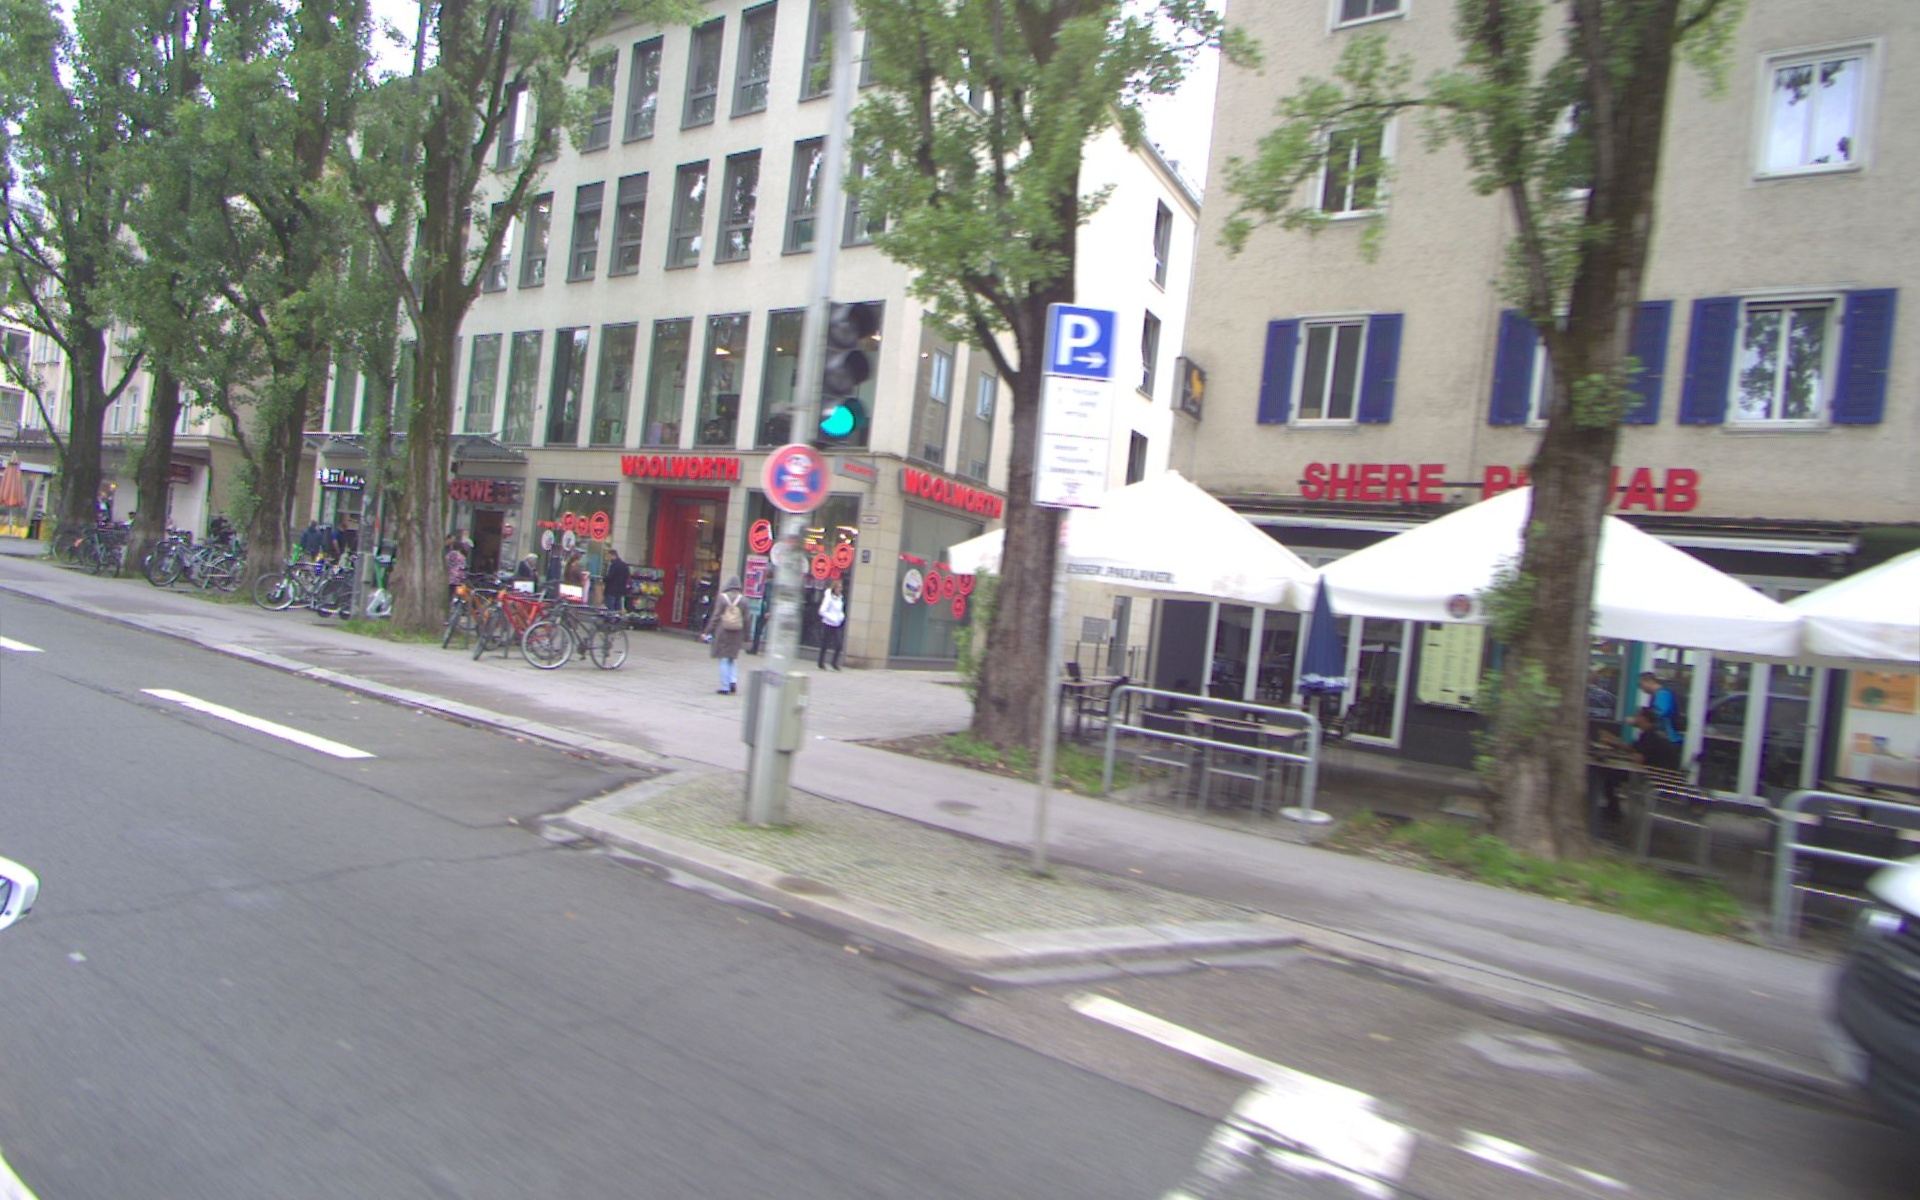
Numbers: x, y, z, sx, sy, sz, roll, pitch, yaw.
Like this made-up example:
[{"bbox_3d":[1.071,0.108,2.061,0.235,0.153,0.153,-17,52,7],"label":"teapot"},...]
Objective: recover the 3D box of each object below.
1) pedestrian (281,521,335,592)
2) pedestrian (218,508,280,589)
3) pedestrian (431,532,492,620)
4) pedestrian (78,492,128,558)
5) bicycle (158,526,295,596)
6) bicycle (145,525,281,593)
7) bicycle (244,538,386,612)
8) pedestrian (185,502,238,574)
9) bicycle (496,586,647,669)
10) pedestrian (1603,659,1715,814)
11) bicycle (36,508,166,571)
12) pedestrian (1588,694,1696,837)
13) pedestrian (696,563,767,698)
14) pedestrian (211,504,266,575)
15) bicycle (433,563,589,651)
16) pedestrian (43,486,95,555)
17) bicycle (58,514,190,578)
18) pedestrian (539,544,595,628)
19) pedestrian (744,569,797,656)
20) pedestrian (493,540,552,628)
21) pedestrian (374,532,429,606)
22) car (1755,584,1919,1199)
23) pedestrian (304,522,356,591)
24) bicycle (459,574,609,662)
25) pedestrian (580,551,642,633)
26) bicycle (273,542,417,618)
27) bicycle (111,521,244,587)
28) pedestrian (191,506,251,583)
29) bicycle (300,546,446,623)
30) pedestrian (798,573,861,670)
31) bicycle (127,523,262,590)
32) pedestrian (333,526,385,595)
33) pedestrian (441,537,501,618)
[{"bbox_3d":[-18.482,-1.234,28.524,0.871,1.848,0.722,7,-1,22],"label":"pedestrian"},{"bbox_3d":[-17.735,-1.278,25.085,0.871,1.848,0.722,7,-1,22],"label":"pedestrian"},{"bbox_3d":[-10.194,-0.486,20.578,0.745,1.707,0.674,6,1,28],"label":"pedestrian"},{"bbox_3d":[-25.677,-2.244,30.136,0.871,1.848,0.639,7,-1,22],"label":"pedestrian"},{"bbox_3d":[-15.570,-0.803,21.422,0.616,1.219,2.230,7,0,30],"label":"bicycle"},{"bbox_3d":[-16.208,-0.870,21.897,0.616,1.219,2.230,7,0,30],"label":"bicycle"},{"bbox_3d":[-12.599,-0.465,19.737,0.616,1.219,2.230,7,0,30],"label":"bicycle"},{"bbox_3d":[-20.682,-1.707,27.792,0.871,1.848,0.639,7,-1,22],"label":"pedestrian"},{"bbox_3d":[-5.524,0.425,14.453,0.616,1.045,1.998,7,0,30],"label":"bicycle"},{"bbox_3d":[8.462,1.628,12.222,0.862,1.698,0.799,7,0,28],"label":"pedestrian"},{"bbox_3d":[-20.628,-1.422,24.213,0.616,1.219,2.230,7,0,30],"label":"bicycle"},{"bbox_3d":[7.232,1.730,10.706,0.787,1.340,0.639,7,1,32],"label":"pedestrian"},{"bbox_3d":[-3.078,0.397,13.526,0.747,1.707,0.748,5,1,-16],"label":"pedestrian"},{"bbox_3d":[-20.491,-1.720,28.576,0.871,1.848,0.722,7,-1,22],"label":"pedestrian"},{"bbox_3d":[-7.077,0.151,15.998,0.616,1.219,2.230,7,0,30],"label":"bicycle"},{"bbox_3d":[-25.843,-2.313,29.189,0.871,1.848,0.639,7,-1,22],"label":"pedestrian"},{"bbox_3d":[-19.479,-1.242,23.514,0.616,1.219,2.230,7,0,30],"label":"bicycle"},{"bbox_3d":[-8.371,-0.293,21.435,0.665,1.707,0.756,6,1,37],"label":"pedestrian"},{"bbox_3d":[-3.874,0.264,20.612,0.662,1.707,0.759,6,1,15],"label":"pedestrian"},{"bbox_3d":[-8.959,-0.317,20.608,0.664,1.707,0.756,6,1,33],"label":"pedestrian"},{"bbox_3d":[-15.020,-0.838,27.067,0.871,1.848,0.722,7,-1,22],"label":"pedestrian"},{"bbox_3d":[5.057,1.215,2.349,4.652,1.969,1.790,7,0,32],"label":"car"},{"bbox_3d":[-18.332,-1.262,29.290,0.871,1.848,0.722,7,-1,22],"label":"pedestrian"},{"bbox_3d":[-6.273,0.295,14.928,0.616,1.147,1.998,7,0,30],"label":"bicycle"},{"bbox_3d":[-7.661,-0.173,22.083,0.864,1.699,0.797,6,1,37],"label":"pedestrian"},{"bbox_3d":[-11.685,-0.357,19.200,0.616,1.219,2.230,7,0,30],"label":"bicycle"},{"bbox_3d":[-17.570,-1.015,22.663,0.616,1.219,2.230,7,0,30],"label":"bicycle"},{"bbox_3d":[-19.219,-1.428,26.181,0.871,1.848,0.722,7,-1,22],"label":"pedestrian"},{"bbox_3d":[-10.787,-0.255,18.582,0.616,1.219,2.230,7,0,30],"label":"bicycle"},{"bbox_3d":[-2.426,0.408,18.683,0.666,1.707,0.754,6,1,44],"label":"pedestrian"},{"bbox_3d":[-16.895,-0.943,22.273,0.616,1.219,2.230,7,0,30],"label":"bicycle"},{"bbox_3d":[-17.411,-1.132,29.156,0.871,1.848,0.722,7,-1,22],"label":"pedestrian"},{"bbox_3d":[-11.980,-0.538,24.657,0.871,1.848,0.722,7,-1,22],"label":"pedestrian"}]
